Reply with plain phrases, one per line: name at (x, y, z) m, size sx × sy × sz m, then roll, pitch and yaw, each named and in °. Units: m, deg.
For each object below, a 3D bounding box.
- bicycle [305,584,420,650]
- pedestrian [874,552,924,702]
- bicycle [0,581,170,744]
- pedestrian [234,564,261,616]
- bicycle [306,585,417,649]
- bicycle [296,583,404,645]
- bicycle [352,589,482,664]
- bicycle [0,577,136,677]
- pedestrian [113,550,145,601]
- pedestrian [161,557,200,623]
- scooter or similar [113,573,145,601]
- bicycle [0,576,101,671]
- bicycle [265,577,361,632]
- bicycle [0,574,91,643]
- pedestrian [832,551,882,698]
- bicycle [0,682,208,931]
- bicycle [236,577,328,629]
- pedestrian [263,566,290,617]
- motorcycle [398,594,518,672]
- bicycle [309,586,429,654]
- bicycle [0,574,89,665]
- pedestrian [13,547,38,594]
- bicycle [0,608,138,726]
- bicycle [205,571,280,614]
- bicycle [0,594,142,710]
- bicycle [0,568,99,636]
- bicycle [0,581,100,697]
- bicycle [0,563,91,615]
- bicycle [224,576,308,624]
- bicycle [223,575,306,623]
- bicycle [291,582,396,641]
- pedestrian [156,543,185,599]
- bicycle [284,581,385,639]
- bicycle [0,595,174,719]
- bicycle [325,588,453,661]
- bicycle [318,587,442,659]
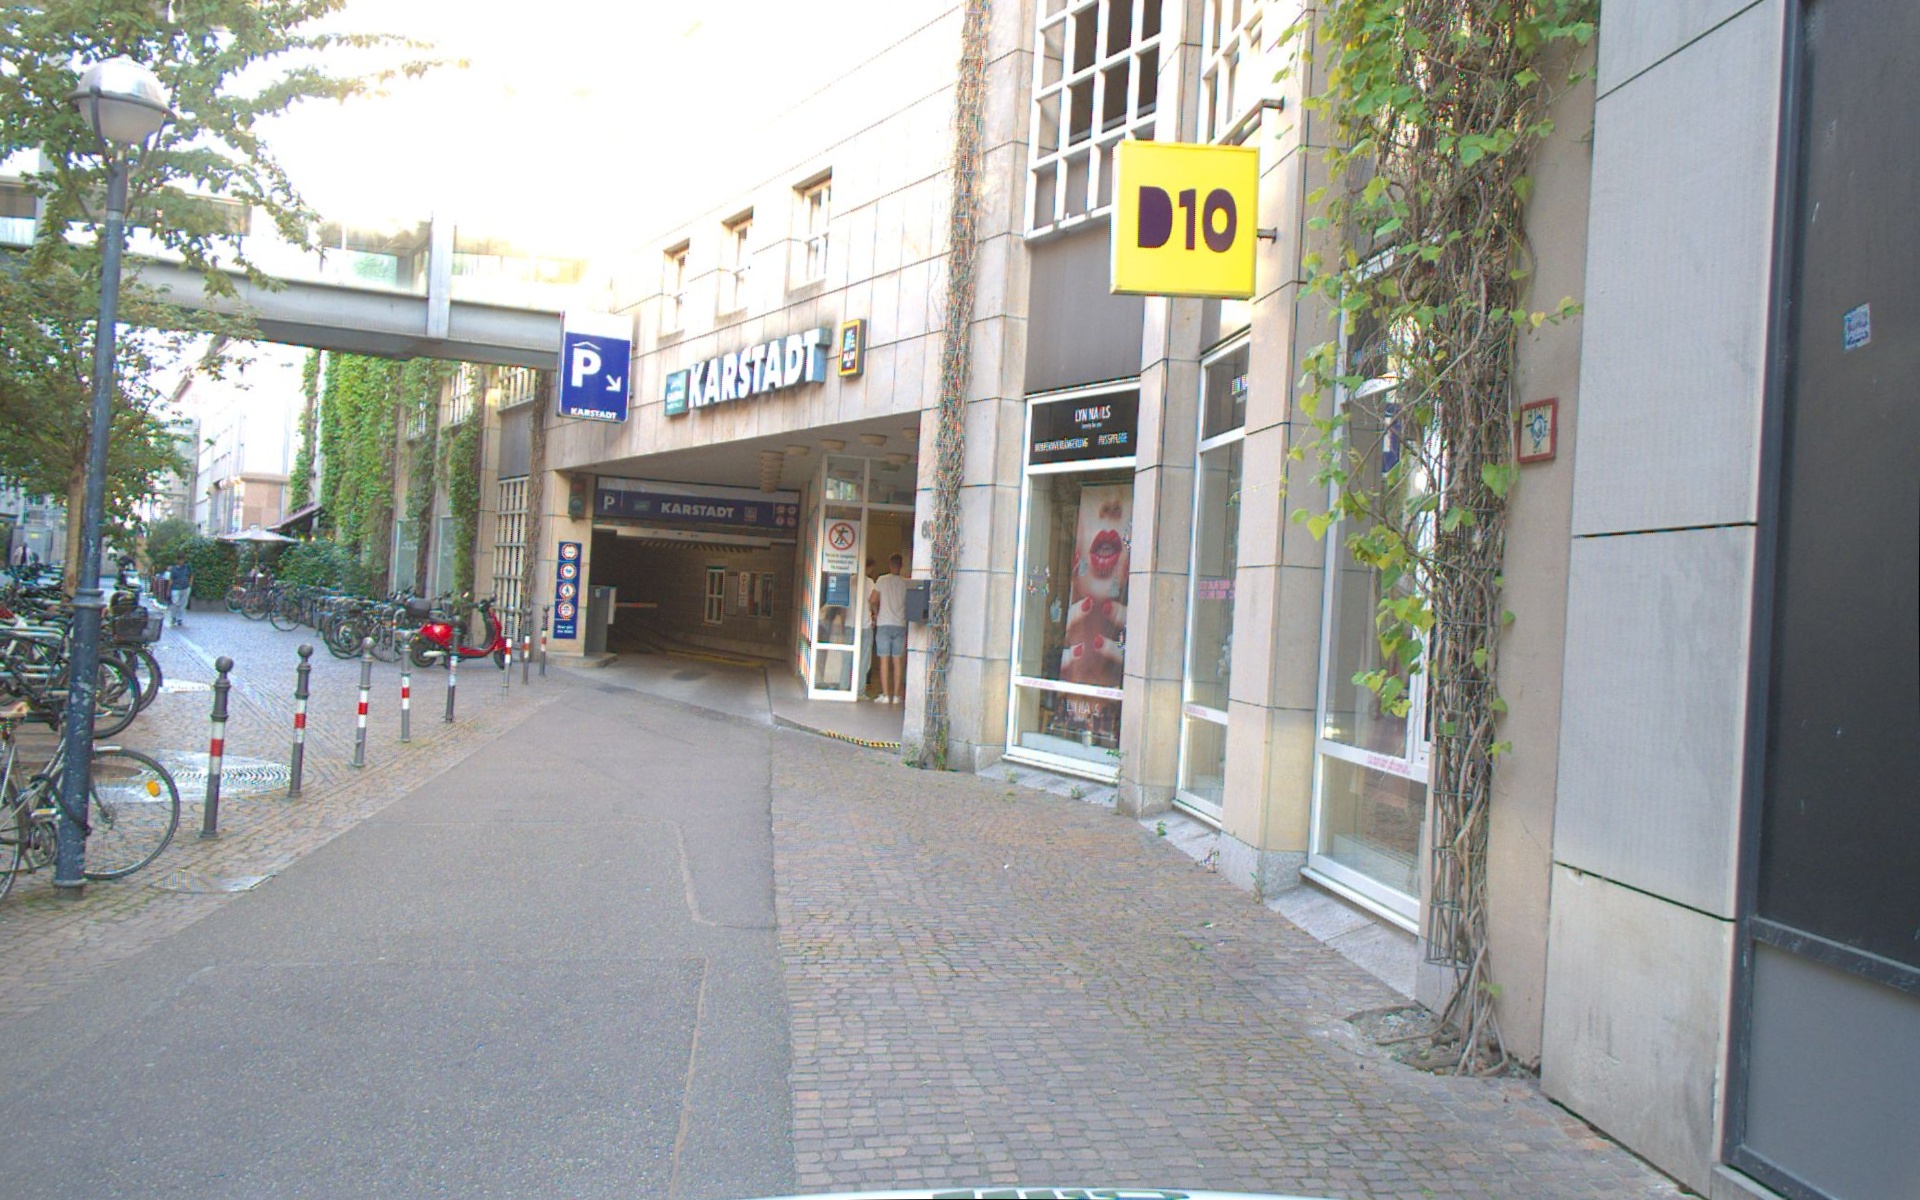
bicycle at (-11.379, 0.328, 31.529) m, size 1.970 × 1.203 × 0.796 m, roll 1°, pitch 1°, yaw -27°
pedestrian at (-0.790, 0.348, 21.441) m, size 0.531 × 1.894 × 0.408 m, roll 3°, pitch 0°, yaw -1°
bicycle at (-7.635, 0.503, 13.703) m, size 1.891 × 1.283 × 0.801 m, roll 3°, pitch 0°, yaw -28°
pedestrian at (-25.964, -0.376, 60.274) m, size 0.767 × 1.836 × 0.759 m, roll 3°, pitch 0°, yaw -32°
bicycle at (-11.754, 0.334, 32.473) m, size 1.970 × 1.203 × 0.688 m, roll 1°, pitch 1°, yaw -27°
bicycle at (-12.278, 0.275, 33.291) m, size 1.970 × 1.203 × 0.688 m, roll 1°, pitch 1°, yaw -27°
bicycle at (-9.020, 0.438, 27.491) m, size 1.970 × 1.203 × 0.690 m, roll 1°, pitch 1°, yaw -27°
bicycle at (-11.730, 0.339, 21.317) m, size 1.888 × 1.203 × 0.691 m, roll 3°, pitch 0°, yaw -25°
pedestrian at (-28.151, -0.829, 56.047) m, size 0.881 × 1.668 × 0.903 m, roll 3°, pitch 0°, yaw -29°
pedestrian at (-18.569, -0.232, 39.379) m, size 0.740 × 1.536 × 0.632 m, roll 3°, pitch 0°, yaw -29°
scooter or similar at (-27.754, -0.436, 55.237) m, size 0.881 × 0.858 × 0.903 m, roll 3°, pitch 0°, yaw -29°
bicycle at (-12.515, 0.295, 21.954) m, size 1.888 × 1.203 × 0.691 m, roll 3°, pitch 0°, yaw -25°
bicycle at (-14.727, 0.105, 37.661) m, size 1.970 × 1.203 × 0.688 m, roll 1°, pitch 1°, yaw -27°
bicycle at (-17.309, 0.156, 30.804) m, size 1.888 × 1.203 × 0.691 m, roll 3°, pitch 0°, yaw -25°
pedestrian at (-1.342, 0.313, 21.598) m, size 0.531 × 1.878 × 0.408 m, roll 3°, pitch 0°, yaw -1°
bicycle at (-4.276, 0.925, 7.768) m, size 0.494 × 0.983 × 1.696 m, roll 2°, pitch 0°, yaw 8°
bicycle at (-16.099, 0.074, 39.303) m, size 1.970 × 1.203 × 0.688 m, roll 1°, pitch 1°, yaw -27°
pedestrian at (-24.982, -0.321, 60.447) m, size 0.767 × 1.836 × 0.759 m, roll 3°, pitch 0°, yaw -32°
motorcycle at (-7.872, 0.520, 25.961) m, size 1.723 × 1.175 × 0.590 m, roll 1°, pitch 0°, yaw -25°
bicycle at (-10.772, 0.367, 30.147) m, size 1.970 × 1.203 × 0.796 m, roll 1°, pitch 1°, yaw -27°
bicycle at (-13.196, 0.254, 22.910) m, size 1.888 × 1.203 × 0.691 m, roll 3°, pitch 0°, yaw -25°
pedestrian at (-37.699, -1.194, 66.711) m, size 0.767 × 1.836 × 0.627 m, roll 3°, pitch 0°, yaw -32°
bicycle at (-8.537, 0.595, 15.003) m, size 1.891 × 1.011 × 0.690 m, roll 3°, pitch 0°, yaw -28°
bicycle at (-20.768, -0.223, 47.880) m, size 1.970 × 1.203 × 0.688 m, roll 1°, pitch 1°, yaw -27°
bicycle at (-9.509, 0.523, 16.992) m, size 1.888 × 1.121 × 0.691 m, roll 3°, pitch 0°, yaw -25°
bicycle at (-17.624, 0.038, 31.699) m, size 1.888 × 1.203 × 0.691 m, roll 3°, pitch 0°, yaw -25°
bicycle at (-10.363, 0.396, 17.782) m, size 1.888 × 1.203 × 0.691 m, roll 3°, pitch 0°, yaw -25°
bicycle at (-22.992, -0.275, 41.623) m, size 1.888 × 1.203 × 0.691 m, roll 3°, pitch 0°, yaw -25°
bicycle at (-18.009, 0.010, 42.919) m, size 1.970 × 1.203 × 0.688 m, roll 1°, pitch 1°, yaw -27°
bicycle at (-18.377, -0.023, 43.685) m, size 1.970 × 1.203 × 0.688 m, roll 1°, pitch 1°, yaw -27°
bicycle at (-12.842, 0.241, 34.460) m, size 1.970 × 1.203 × 0.688 m, roll 1°, pitch 1°, yaw -27°
pedestrian at (-26.531, -0.977, 55.563) m, size 0.756 × 1.836 × 0.770 m, roll 3°, pitch 0°, yaw -29°
bicycle at (-13.409, 0.221, 35.464) m, size 1.970 × 1.203 × 0.688 m, roll 1°, pitch 1°, yaw -27°
bicycle at (-8.647, 0.542, 15.914) m, size 1.891 × 1.121 × 0.690 m, roll 3°, pitch 0°, yaw -28°
bicycle at (-9.752, 0.416, 28.256) m, size 1.970 × 1.203 × 0.690 m, roll 1°, pitch 1°, yaw -27°
bicycle at (-10.191, 0.407, 29.084) m, size 1.970 × 1.203 × 0.796 m, roll 1°, pitch 1°, yaw -27°
